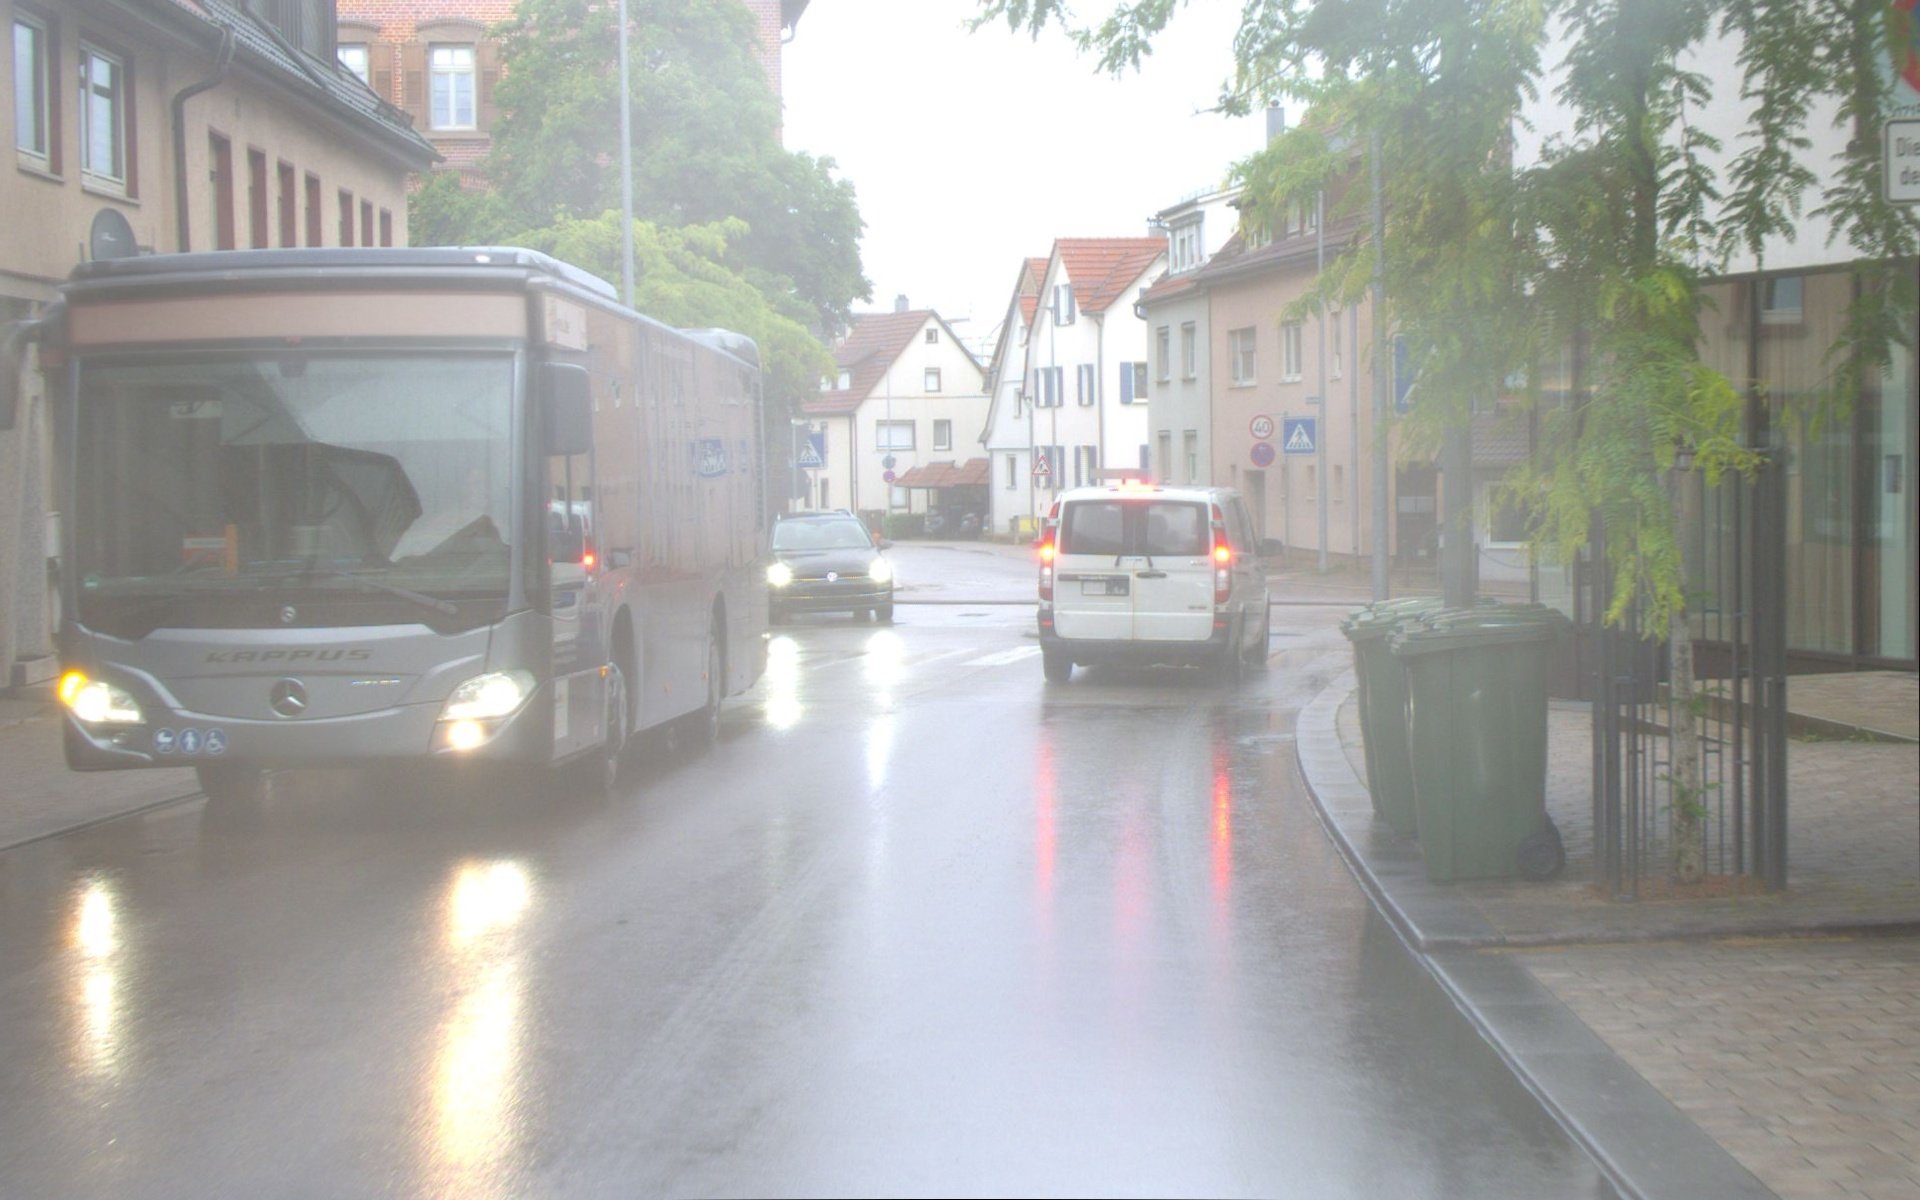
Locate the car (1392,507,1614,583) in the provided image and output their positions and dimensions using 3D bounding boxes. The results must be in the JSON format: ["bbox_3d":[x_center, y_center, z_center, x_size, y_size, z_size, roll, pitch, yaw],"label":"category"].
[{"bbox_3d":[10.970,-1.108,69.562,3.986,1.481,2.001,0,1,-11],"label":"car"}]

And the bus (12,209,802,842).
[{"bbox_3d":[-2.954,-0.506,22.211,2.724,3.069,10.946,0,1,3],"label":"bus"}]

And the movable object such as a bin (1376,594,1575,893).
[{"bbox_3d":[2.087,0.573,13.982,0.752,1.167,0.630,-1,1,7],"label":"movable object such as a bin"}]

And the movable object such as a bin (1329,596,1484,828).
[{"bbox_3d":[2.206,0.544,17.045,0.724,1.114,0.576,0,1,4],"label":"movable object such as a bin"}]

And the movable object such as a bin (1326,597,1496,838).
[{"bbox_3d":[2.149,0.550,16.434,0.761,1.114,0.624,0,1,4],"label":"movable object such as a bin"}]

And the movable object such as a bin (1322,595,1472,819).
[{"bbox_3d":[2.233,0.539,17.631,0.724,1.114,0.576,0,1,4],"label":"movable object such as a bin"}]

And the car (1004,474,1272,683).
[{"bbox_3d":[1.836,-0.226,33.710,2.153,1.892,4.924,0,1,9],"label":"car"}]

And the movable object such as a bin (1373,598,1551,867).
[{"bbox_3d":[2.256,0.589,15.510,0.752,1.167,0.630,-1,1,7],"label":"movable object such as a bin"}]

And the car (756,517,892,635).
[{"bbox_3d":[-1.848,-0.371,47.862,1.786,1.502,4.469,0,2,-1],"label":"car"}]

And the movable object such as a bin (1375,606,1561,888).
[{"bbox_3d":[2.185,0.623,14.845,0.752,1.167,0.630,-1,1,7],"label":"movable object such as a bin"}]
